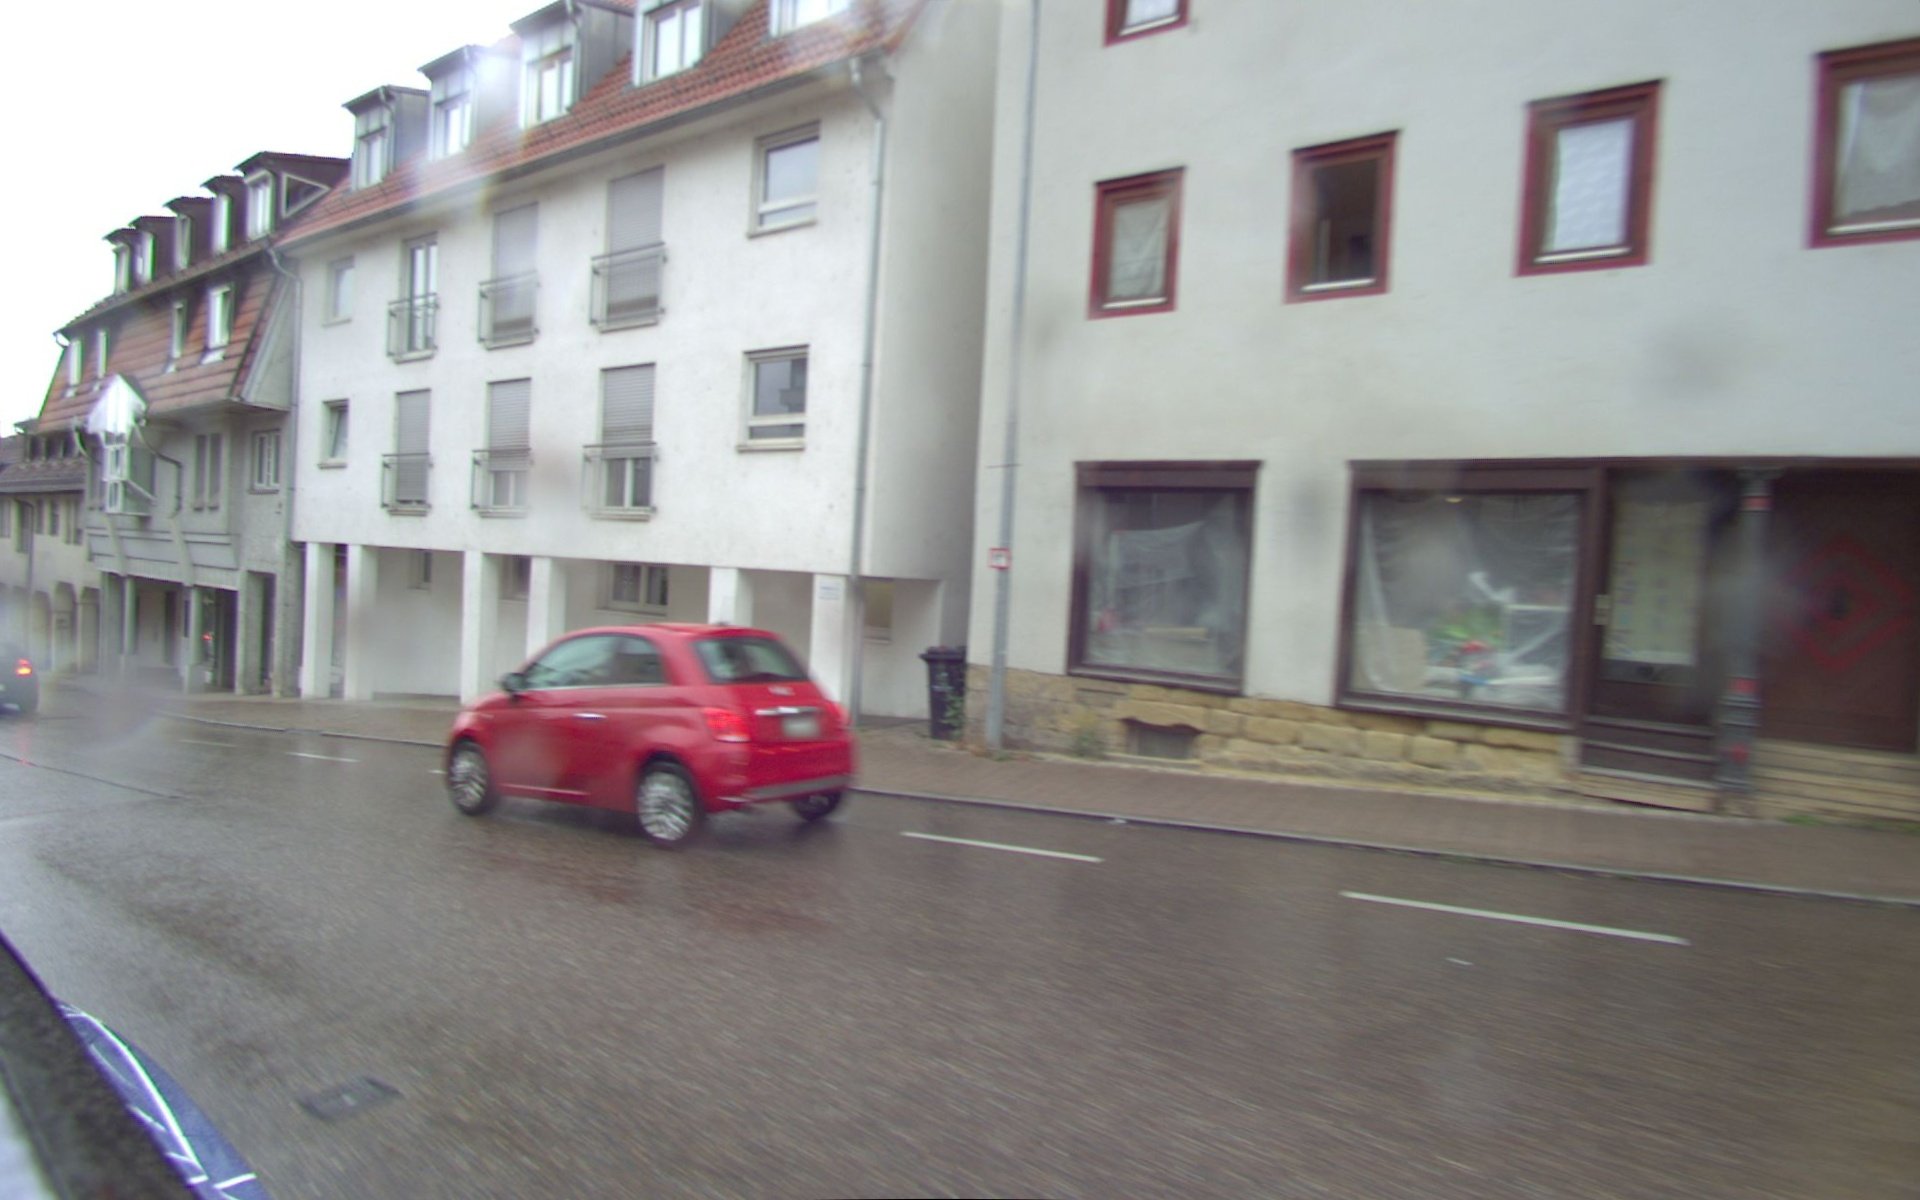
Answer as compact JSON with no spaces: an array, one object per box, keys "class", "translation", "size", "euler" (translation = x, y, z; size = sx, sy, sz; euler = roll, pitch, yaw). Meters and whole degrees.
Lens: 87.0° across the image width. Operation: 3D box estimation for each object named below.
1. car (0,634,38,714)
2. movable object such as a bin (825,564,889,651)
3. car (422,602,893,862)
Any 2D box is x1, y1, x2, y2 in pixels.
[{"class":"car","translation":[-19.199,1.383,19.260],"size":[3.901,1.455,1.673],"euler":[-2,-2,36]},{"class":"movable object such as a bin","translation":[-1.246,0.099,12.229],"size":[0.583,1.014,0.504],"euler":[-2,-2,34]},{"class":"car","translation":[-2.348,0.847,7.655],"size":[3.439,1.547,1.546],"euler":[-1,-3,33]}]
